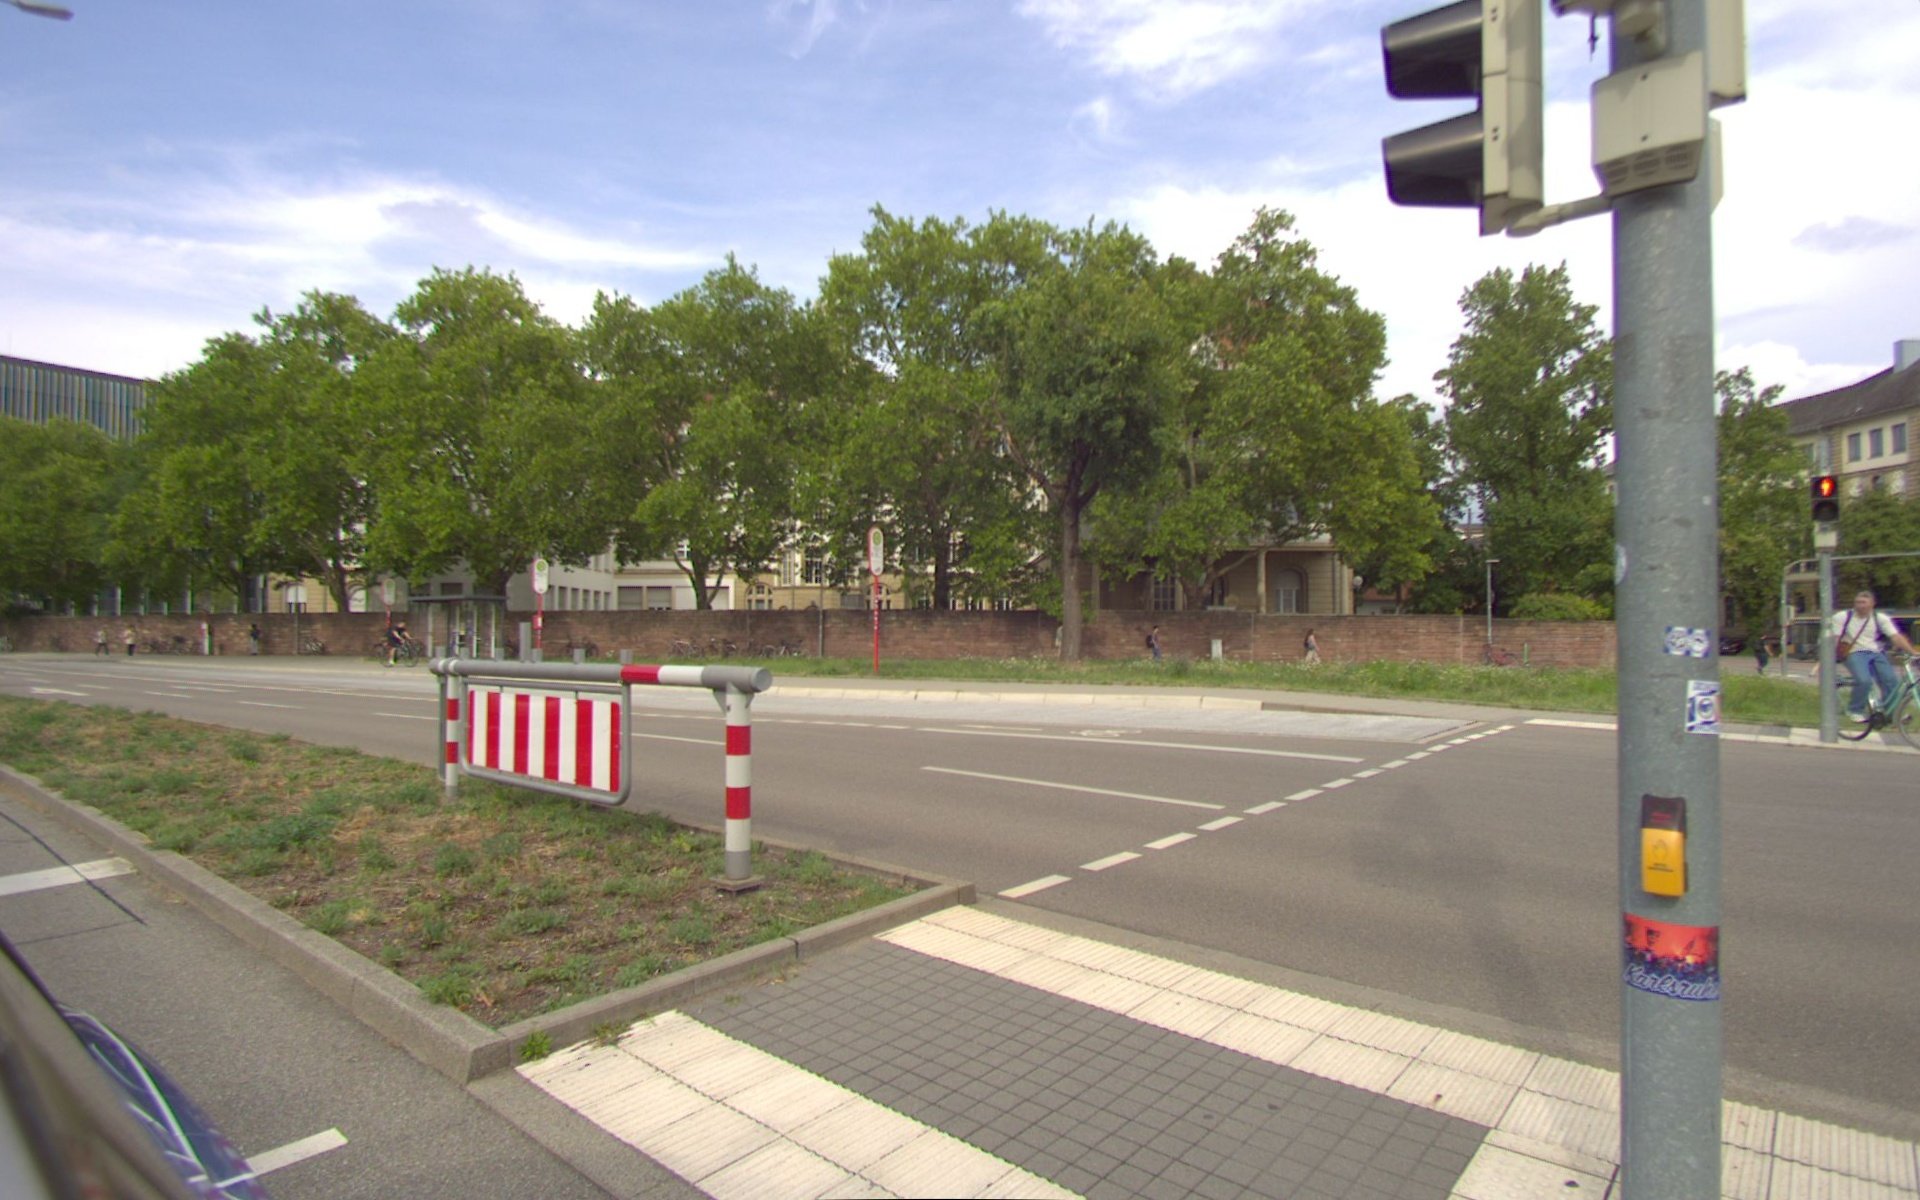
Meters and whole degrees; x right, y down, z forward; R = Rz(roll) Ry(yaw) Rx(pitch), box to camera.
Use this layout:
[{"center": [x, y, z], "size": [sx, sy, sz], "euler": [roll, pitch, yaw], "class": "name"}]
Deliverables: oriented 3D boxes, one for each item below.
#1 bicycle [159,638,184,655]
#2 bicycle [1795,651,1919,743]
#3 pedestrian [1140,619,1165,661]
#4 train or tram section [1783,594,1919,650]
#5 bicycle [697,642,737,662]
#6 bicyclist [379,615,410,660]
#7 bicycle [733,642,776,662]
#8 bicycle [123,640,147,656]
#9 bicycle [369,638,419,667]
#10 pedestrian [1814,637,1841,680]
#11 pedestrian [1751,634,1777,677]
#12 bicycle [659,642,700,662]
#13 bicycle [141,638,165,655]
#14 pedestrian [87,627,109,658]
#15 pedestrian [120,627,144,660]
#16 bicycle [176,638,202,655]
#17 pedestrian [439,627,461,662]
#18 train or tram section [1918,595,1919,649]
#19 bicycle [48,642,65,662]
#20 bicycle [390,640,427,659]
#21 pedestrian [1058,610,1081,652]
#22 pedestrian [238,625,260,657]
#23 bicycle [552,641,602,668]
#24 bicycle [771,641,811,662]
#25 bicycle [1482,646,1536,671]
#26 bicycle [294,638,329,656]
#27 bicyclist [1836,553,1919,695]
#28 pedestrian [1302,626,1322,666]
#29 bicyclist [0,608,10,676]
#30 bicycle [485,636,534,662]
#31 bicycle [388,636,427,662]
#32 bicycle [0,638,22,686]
[{"center": [-44.220, 2.605, 56.760], "size": [1.567, 0.894, 0.429], "euler": [-1, 1, 26], "class": "bicycle"}, {"center": [10.668, 1.100, 11.479], "size": [0.498, 0.943, 1.976], "euler": [1, 0, -10], "class": "bicycle"}, {"center": [7.821, 1.600, 41.057], "size": [0.768, 1.667, 0.579], "euler": [-1, 0, -23], "class": "pedestrian"}, {"center": [58.138, 1.322, 64.718], "size": [3.018, 3.302, 9.374], "euler": [-1, 0, -2], "class": "train or tram section"}, {"center": [-10.791, 2.305, 44.898], "size": [1.794, 0.871, 0.357], "euler": [-1, -4, 16], "class": "bicycle"}, {"center": [-20.258, 1.329, 36.243], "size": [0.792, 1.567, 0.576], "euler": [1, 0, 22], "class": "bicyclist"}, {"center": [-9.010, 2.280, 44.342], "size": [1.875, 0.871, 0.356], "euler": [-1, -4, 18], "class": "bicycle"}, {"center": [-47.458, 2.746, 58.181], "size": [1.567, 0.894, 0.429], "euler": [-1, 1, 26], "class": "bicycle"}, {"center": [-20.304, 1.877, 36.288], "size": [1.960, 0.943, 0.502], "euler": [1, 0, 24], "class": "bicycle"}, {"center": [36.099, 2.432, 42.138], "size": [0.799, 1.724, 0.829], "euler": [-1, 0, 38], "class": "pedestrian"}, {"center": [33.116, 2.265, 41.694], "size": [0.799, 1.724, 0.829], "euler": [-1, 0, 38], "class": "pedestrian"}, {"center": [-12.558, 2.329, 45.365], "size": [1.804, 0.871, 0.357], "euler": [-1, -4, 14], "class": "bicycle"}, {"center": [-45.761, 2.628, 57.366], "size": [1.567, 0.894, 0.429], "euler": [-1, 1, 26], "class": "bicycle"}, {"center": [-47.268, 2.316, 55.490], "size": [0.663, 1.634, 0.747], "euler": [-1, 0, 31], "class": "pedestrian"}, {"center": [-41.799, 2.166, 51.069], "size": [0.663, 1.634, 0.747], "euler": [-1, 0, 31], "class": "pedestrian"}, {"center": [-42.344, 2.578, 55.582], "size": [1.567, 0.894, 0.429], "euler": [-1, 1, 26], "class": "bicycle"}, {"center": [-24.344, 2.133, 48.311], "size": [0.748, 1.634, 0.566], "euler": [-1, 0, 14], "class": "pedestrian"}, {"center": [58.489, 1.271, 55.329], "size": [3.018, 3.237, 9.434], "euler": [-1, 0, -2], "class": "train or tram section"}, {"center": [-56.075, 3.227, 62.782], "size": [1.393, 1.218, 0.507], "euler": [-1, 0, 37], "class": "bicycle"}, {"center": [-26.846, 2.410, 49.257], "size": [1.562, 0.894, 0.658], "euler": [-2, 1, 17], "class": "bicycle"}, {"center": [4.468, 1.256, 41.313], "size": [0.768, 1.667, 0.579], "euler": [-1, 0, -19], "class": "pedestrian"}, {"center": [-37.232, 2.157, 52.991], "size": [0.655, 1.634, 0.756], "euler": [-1, 0, -5], "class": "pedestrian"}, {"center": [-17.510, 2.502, 46.315], "size": [2.079, 1.198, 0.755], "euler": [-1, -4, 15], "class": "bicycle"}, {"center": [-7.420, 2.257, 44.379], "size": [1.690, 0.871, 0.357], "euler": [-1, -4, 11], "class": "bicycle"}, {"center": [23.251, 2.471, 42.877], "size": [1.895, 1.012, 0.781], "euler": [-1, 0, -8], "class": "bicycle"}, {"center": [-33.026, 2.396, 51.531], "size": [1.562, 0.894, 0.658], "euler": [-2, 1, 17], "class": "bicycle"}, {"center": [10.678, 0.268, 11.577], "size": [0.570, 1.567, 0.800], "euler": [1, 0, -10], "class": "bicyclist"}, {"center": [14.635, 1.909, 42.065], "size": [0.621, 1.667, 0.531], "euler": [-1, 0, 3], "class": "pedestrian"}, {"center": [-25.207, 1.071, 25.900], "size": [1.075, 1.724, 0.774], "euler": [-1, -4, 15], "class": "bicyclist"}, {"center": [-21.134, 2.290, 47.462], "size": [2.079, 1.198, 0.755], "euler": [-1, -4, 15], "class": "bicycle"}, {"center": [-26.089, 2.321, 47.793], "size": [0.747, 1.198, 2.100], "euler": [0, -4, -3], "class": "bicycle"}, {"center": [-25.181, 1.579, 25.854], "size": [2.079, 1.198, 0.755], "euler": [-1, -4, 15], "class": "bicycle"}]
